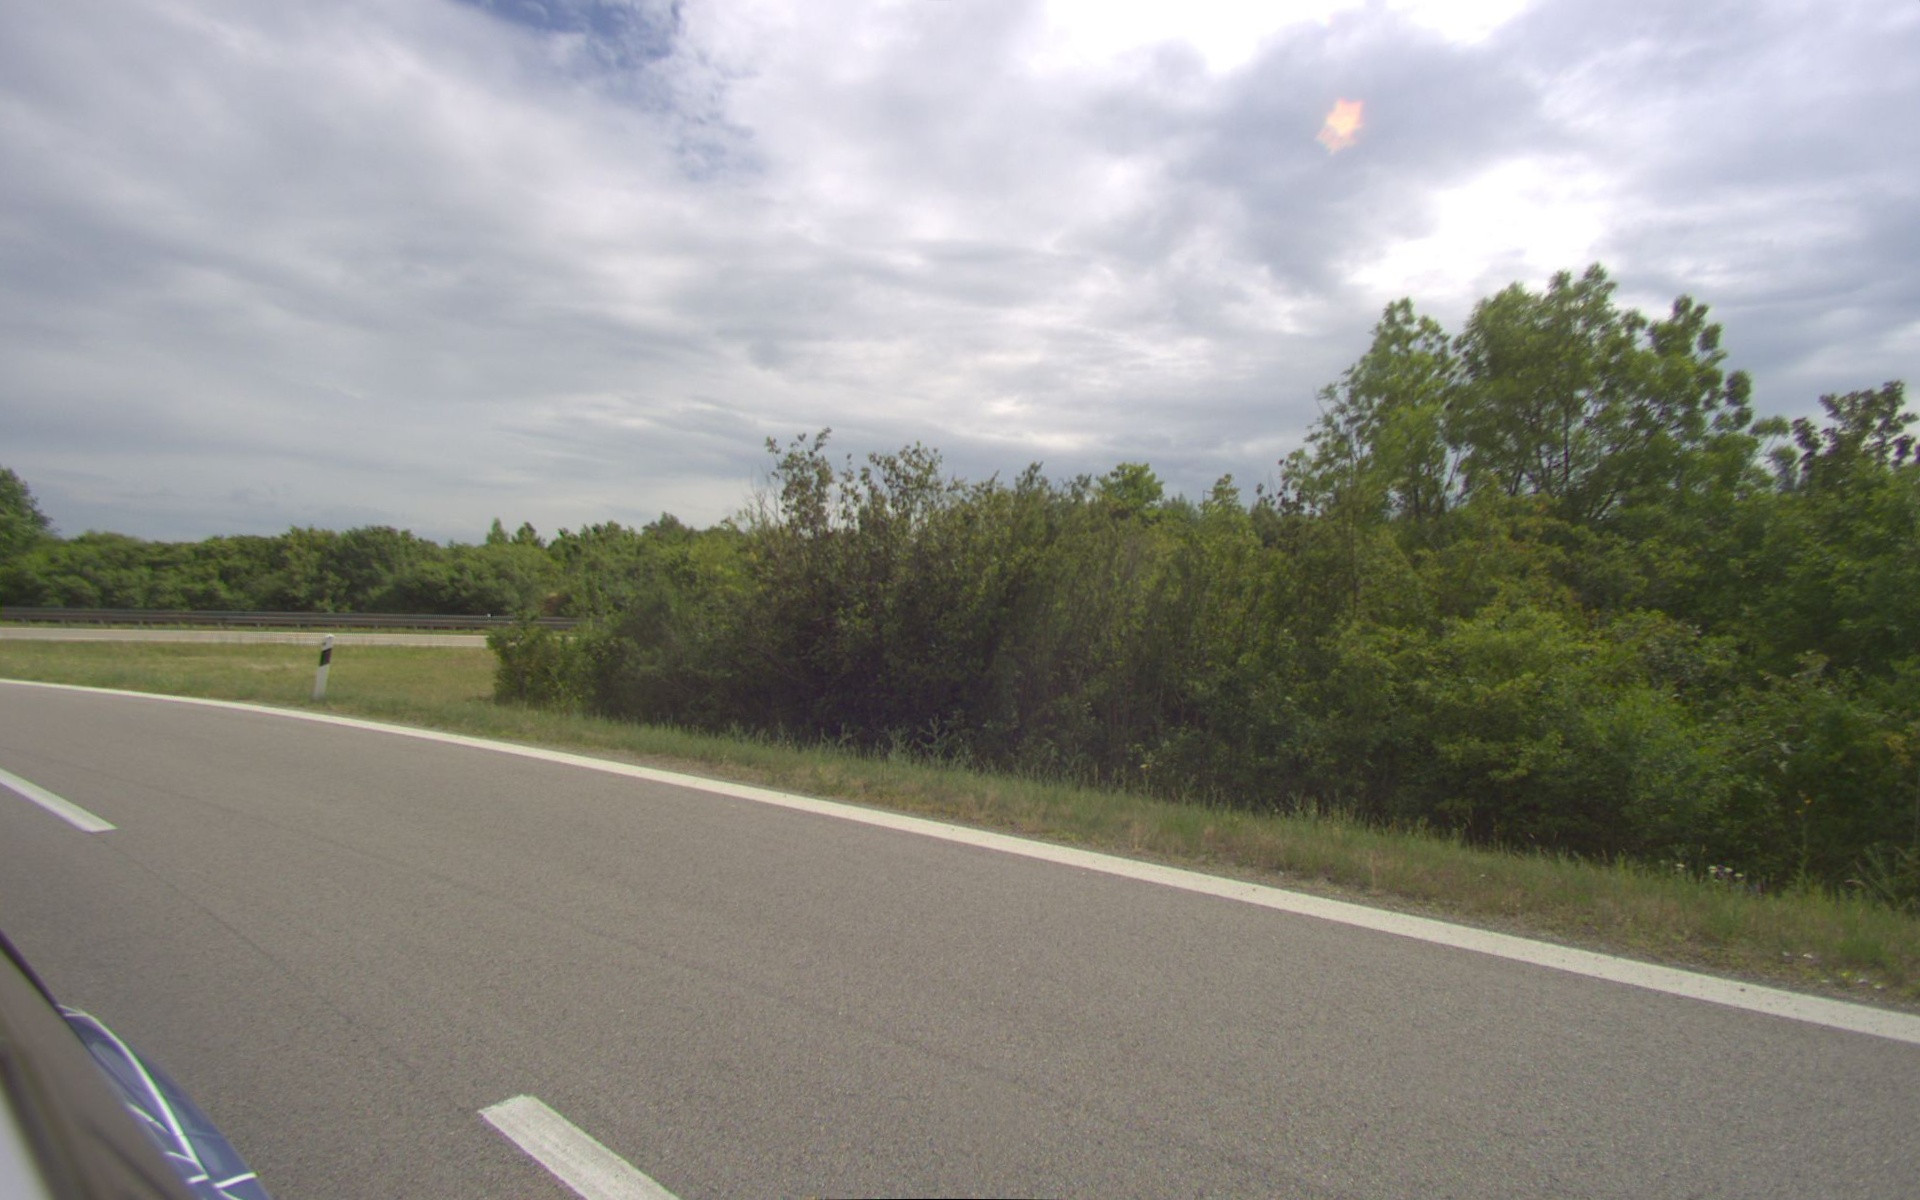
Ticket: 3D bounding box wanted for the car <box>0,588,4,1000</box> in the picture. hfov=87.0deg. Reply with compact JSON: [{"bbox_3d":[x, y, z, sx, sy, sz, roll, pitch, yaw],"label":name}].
[{"bbox_3d":[-5.911,0.731,4.440,4.534,1.526,1.974,0,0,40],"label":"car"}]
